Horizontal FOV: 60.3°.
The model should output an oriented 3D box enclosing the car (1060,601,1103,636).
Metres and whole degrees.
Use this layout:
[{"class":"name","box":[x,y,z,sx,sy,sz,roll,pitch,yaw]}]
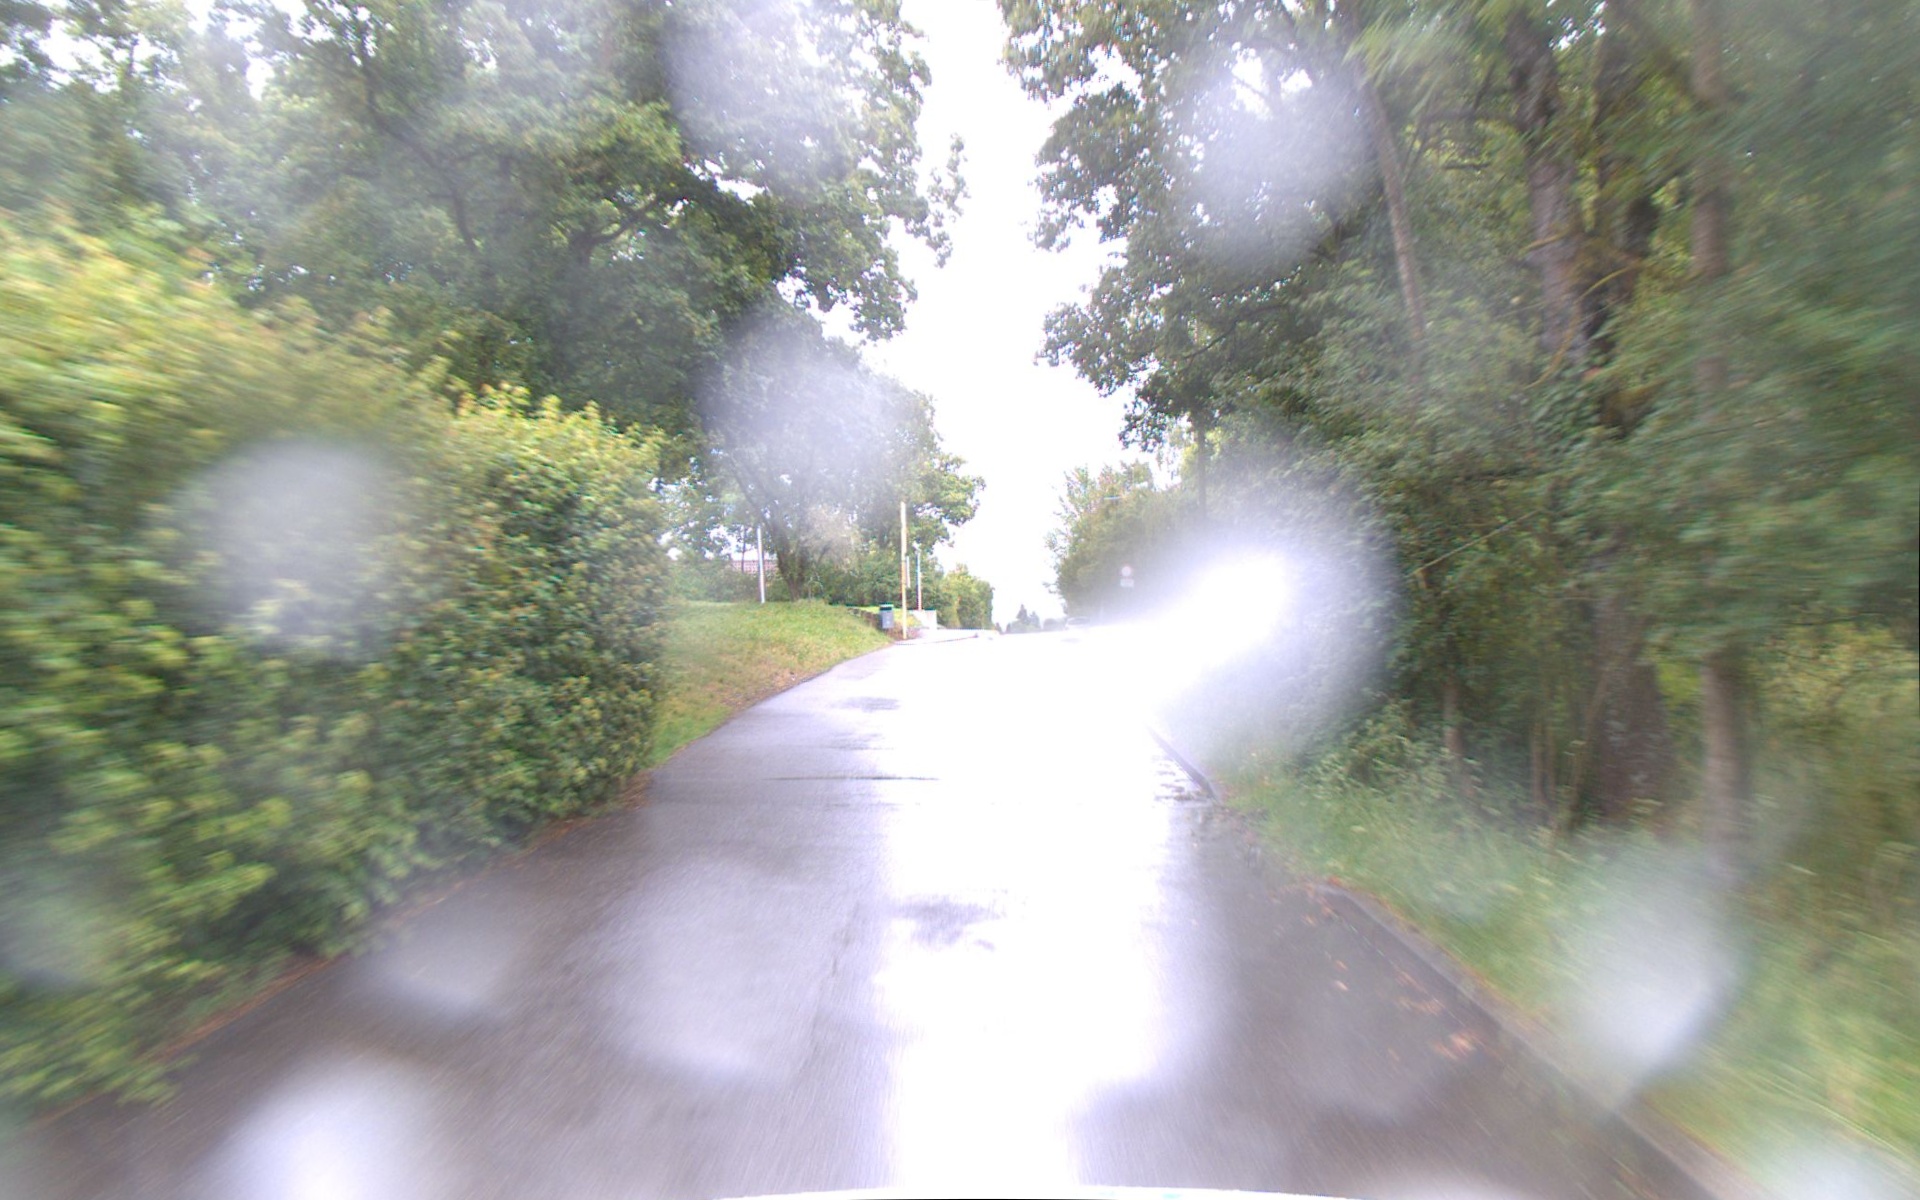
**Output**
[{"class":"car","box":[6.418,1.010,87.207,1.951,1.611,4.002,-1,-3,8]}]
